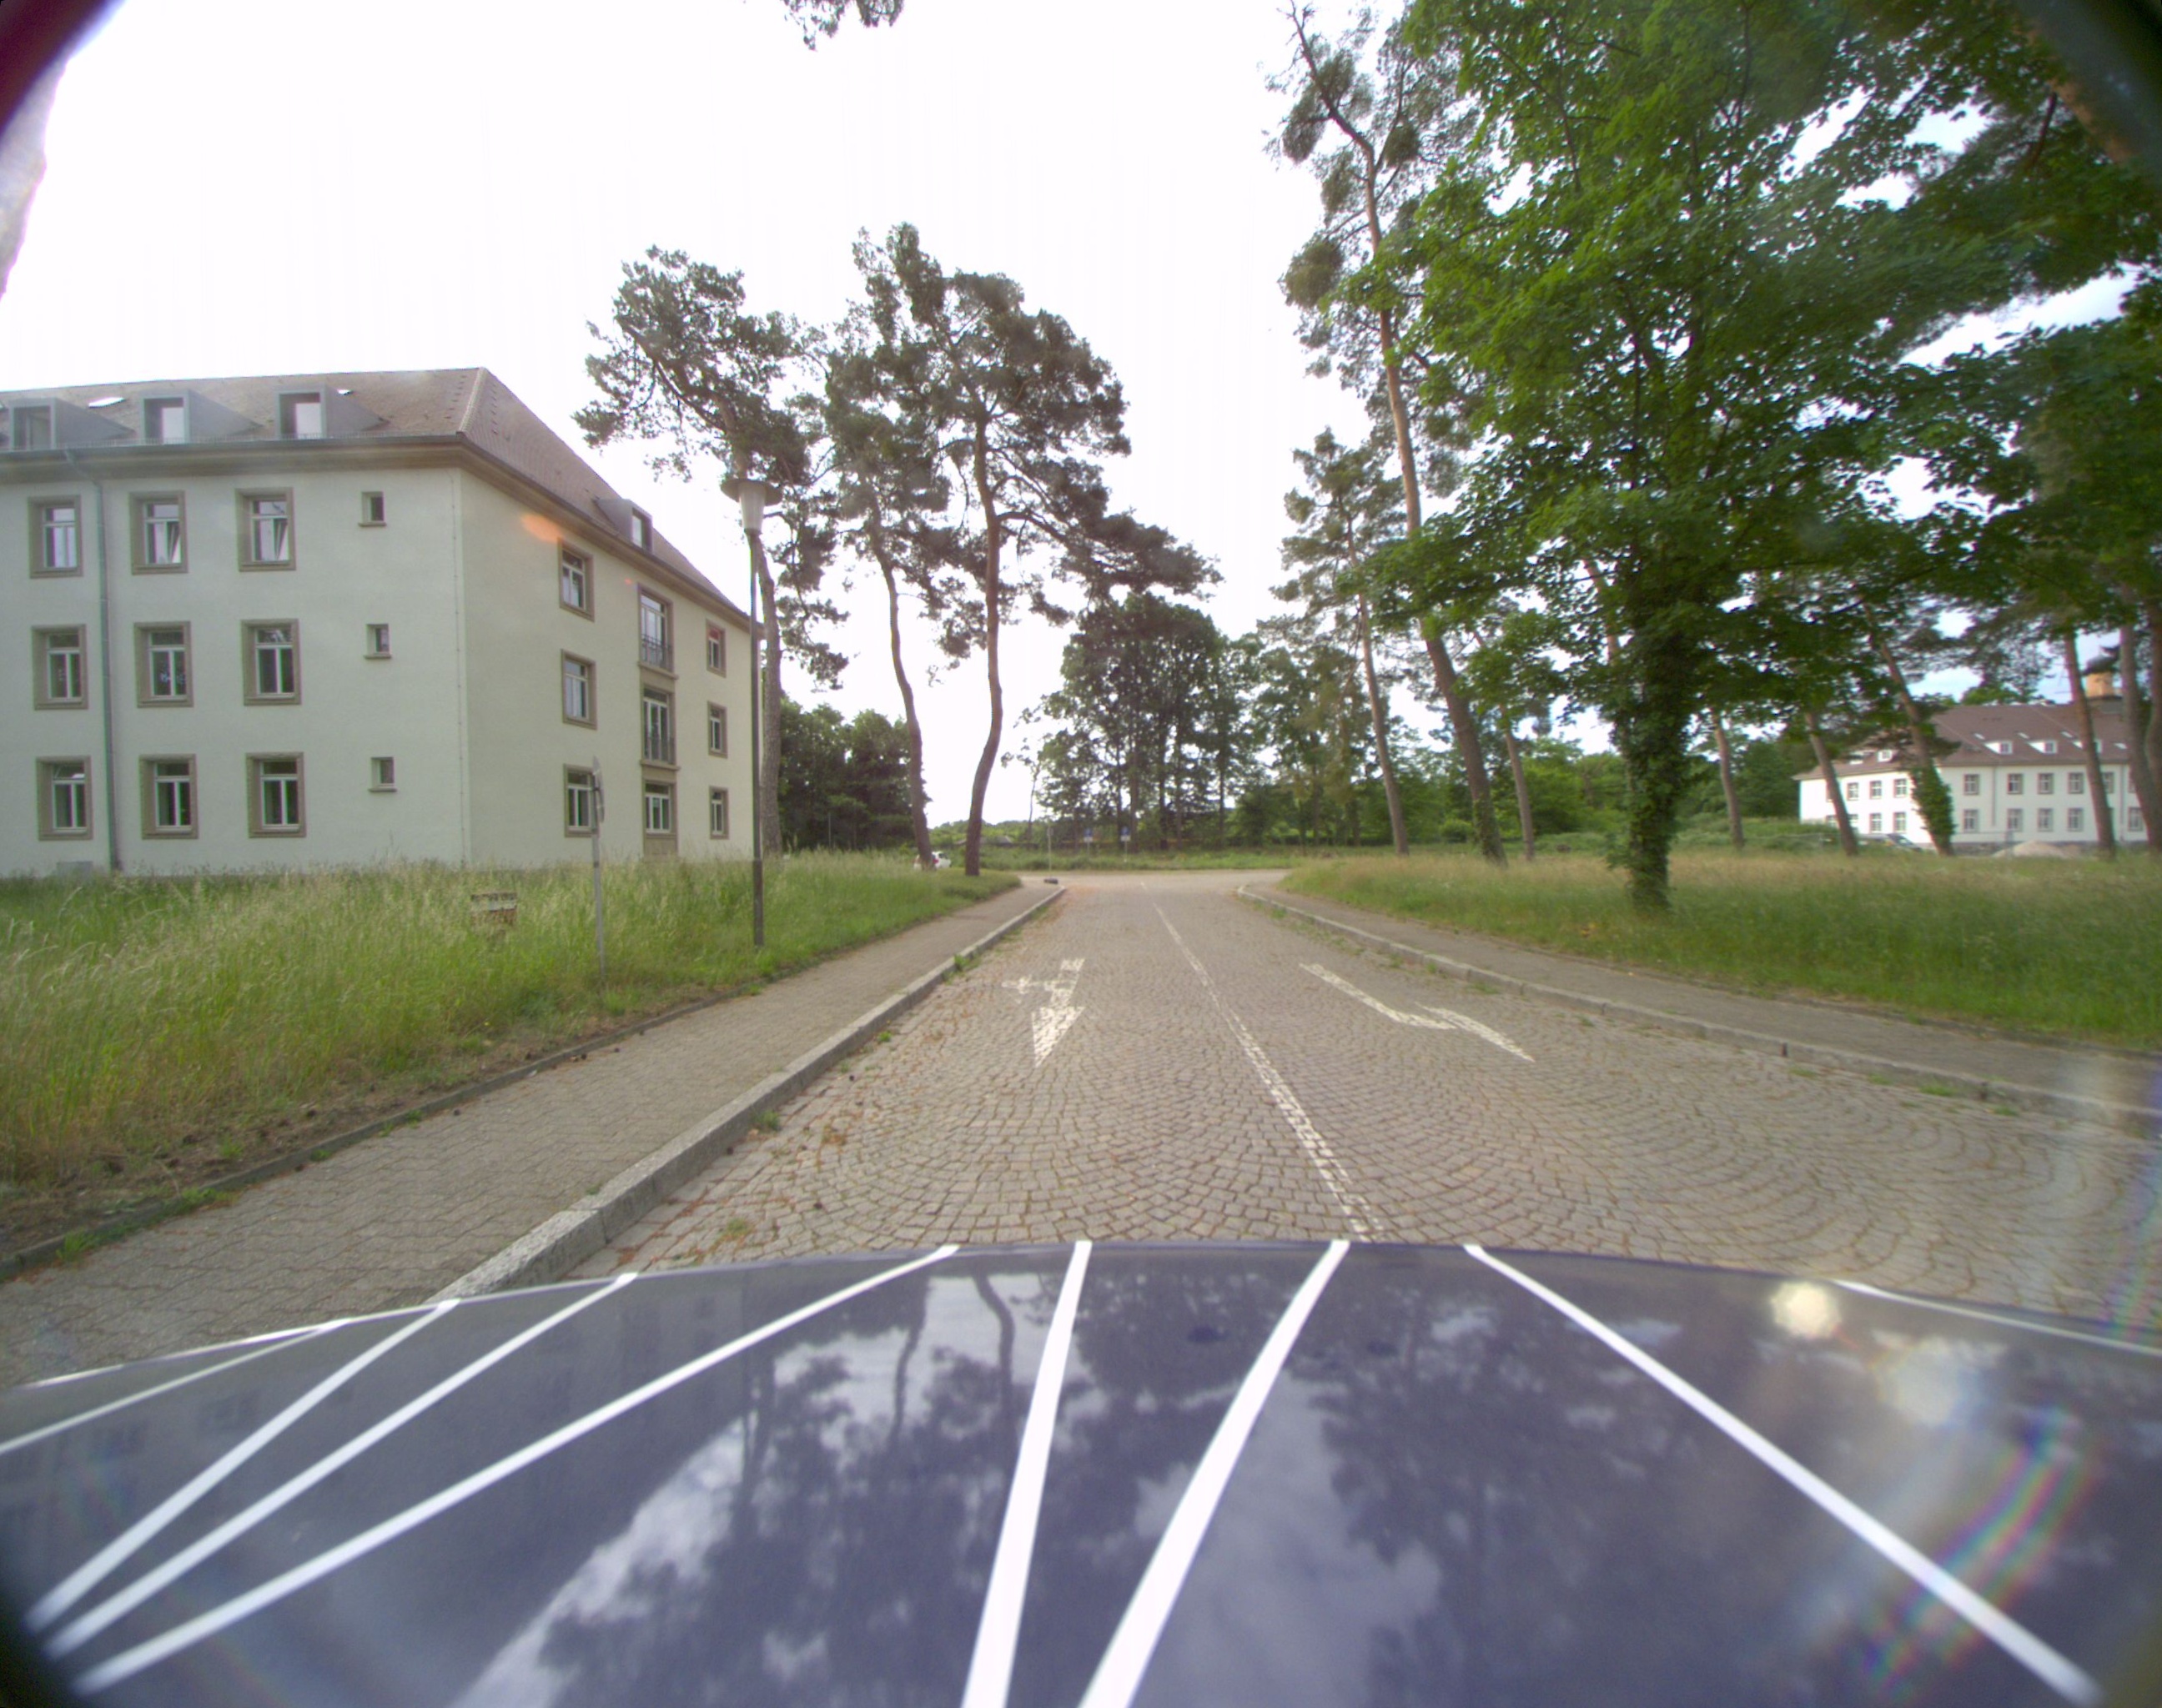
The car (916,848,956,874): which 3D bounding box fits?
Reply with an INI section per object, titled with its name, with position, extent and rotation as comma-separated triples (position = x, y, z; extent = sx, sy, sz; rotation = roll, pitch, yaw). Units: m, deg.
[car]
position = -9.063, 0.437, 47.743
extent = 1.640, 1.426, 3.277
rotation = -1, 3, 3
